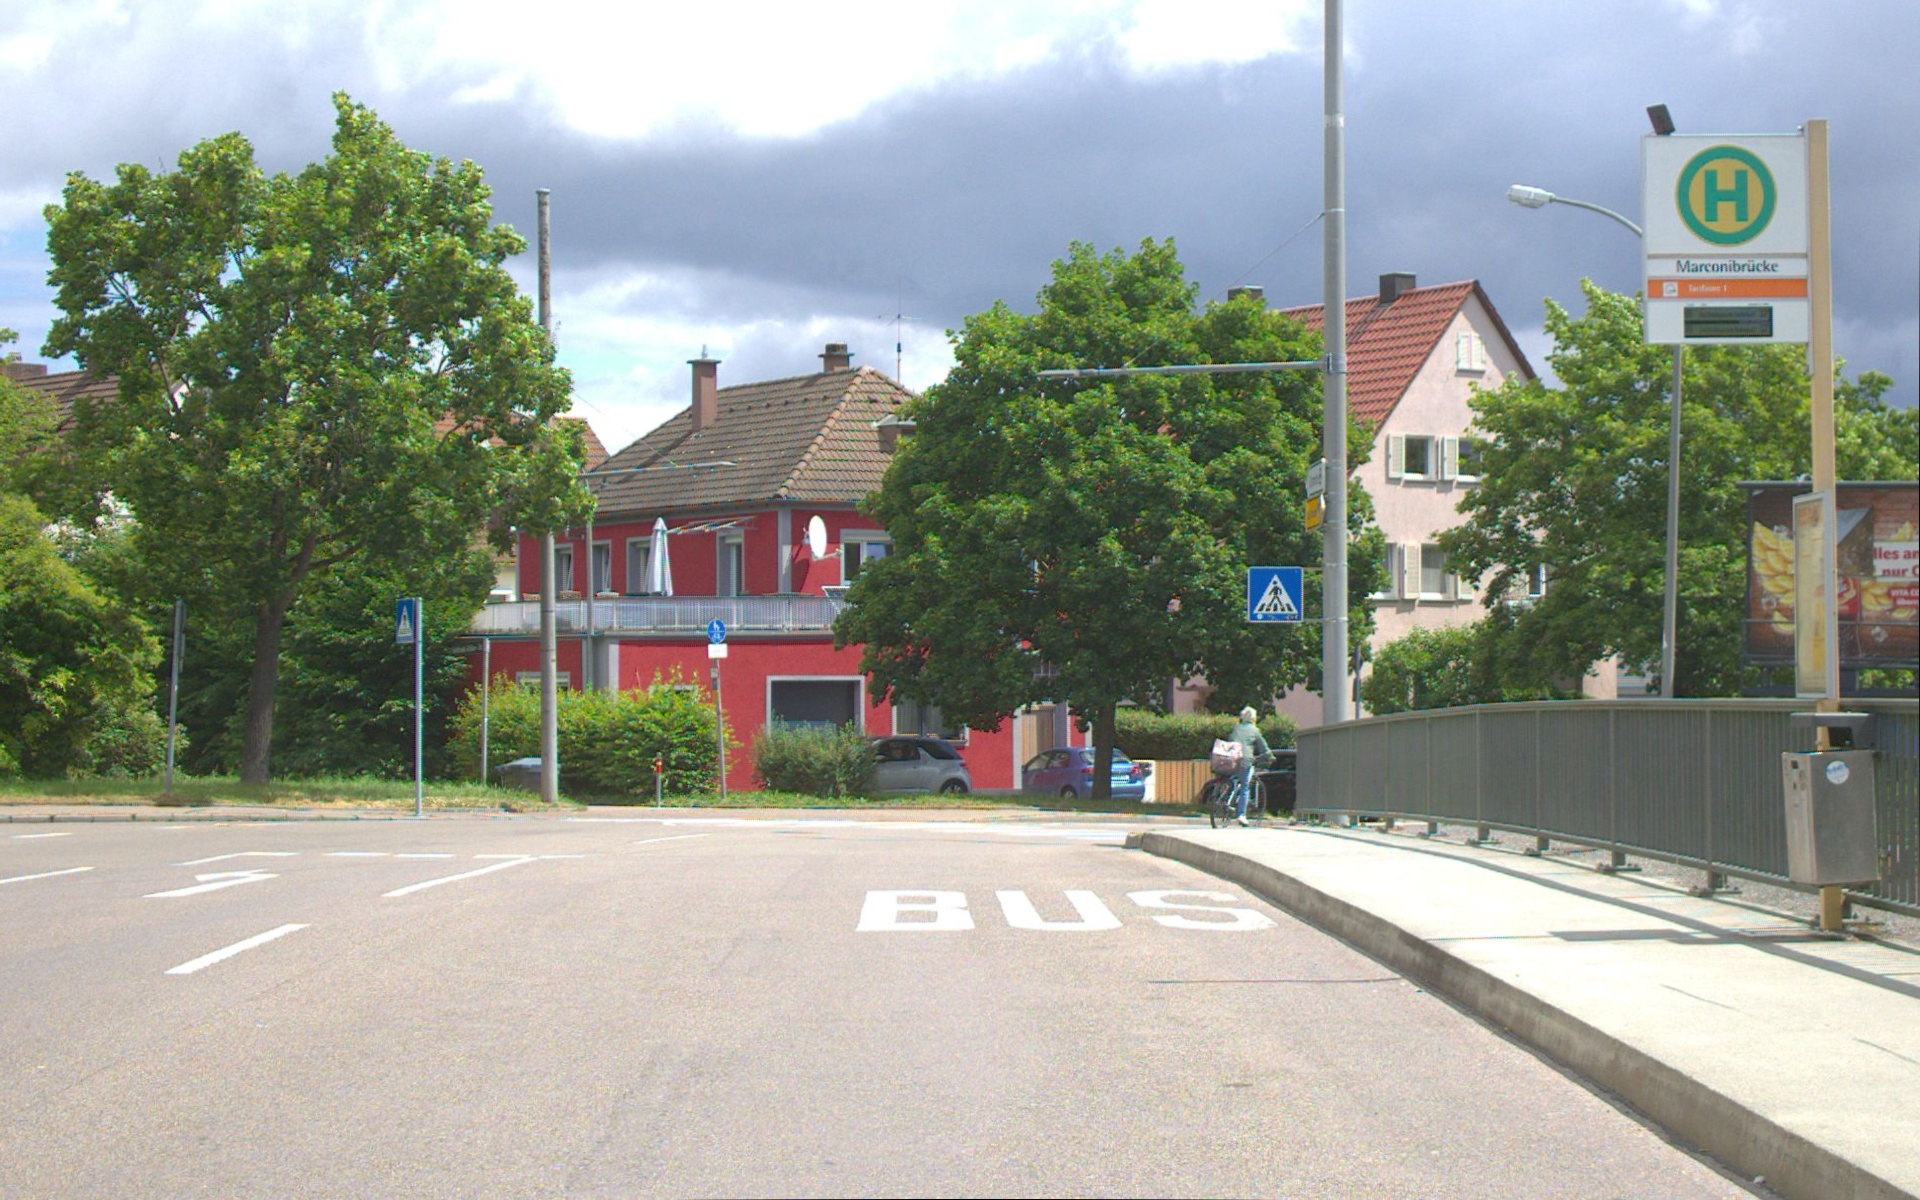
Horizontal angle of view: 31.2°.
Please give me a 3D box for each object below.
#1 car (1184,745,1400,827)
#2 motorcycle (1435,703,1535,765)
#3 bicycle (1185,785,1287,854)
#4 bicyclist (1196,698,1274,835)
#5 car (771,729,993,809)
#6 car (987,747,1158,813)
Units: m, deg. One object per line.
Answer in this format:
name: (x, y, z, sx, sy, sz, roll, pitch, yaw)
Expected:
car: (6.369, 3.573, 66.358, 1.993, 1.389, 4.144, 4, -2, -32)
motorcycle: (12.164, 3.100, 79.628, 2.228, 1.311, 0.920, 4, -3, -34)
bicycle: (3.770, 2.998, 46.834, 0.688, 0.875, 2.098, -1, -6, 25)
bicyclist: (3.752, 2.275, 46.824, 0.685, 1.820, 1.079, -1, -6, 26)
car: (-1.527, 3.327, 67.666, 4.064, 1.421, 1.645, 4, -2, -33)
car: (2.402, 3.865, 74.096, 1.837, 1.373, 3.813, 3, -4, -32)
